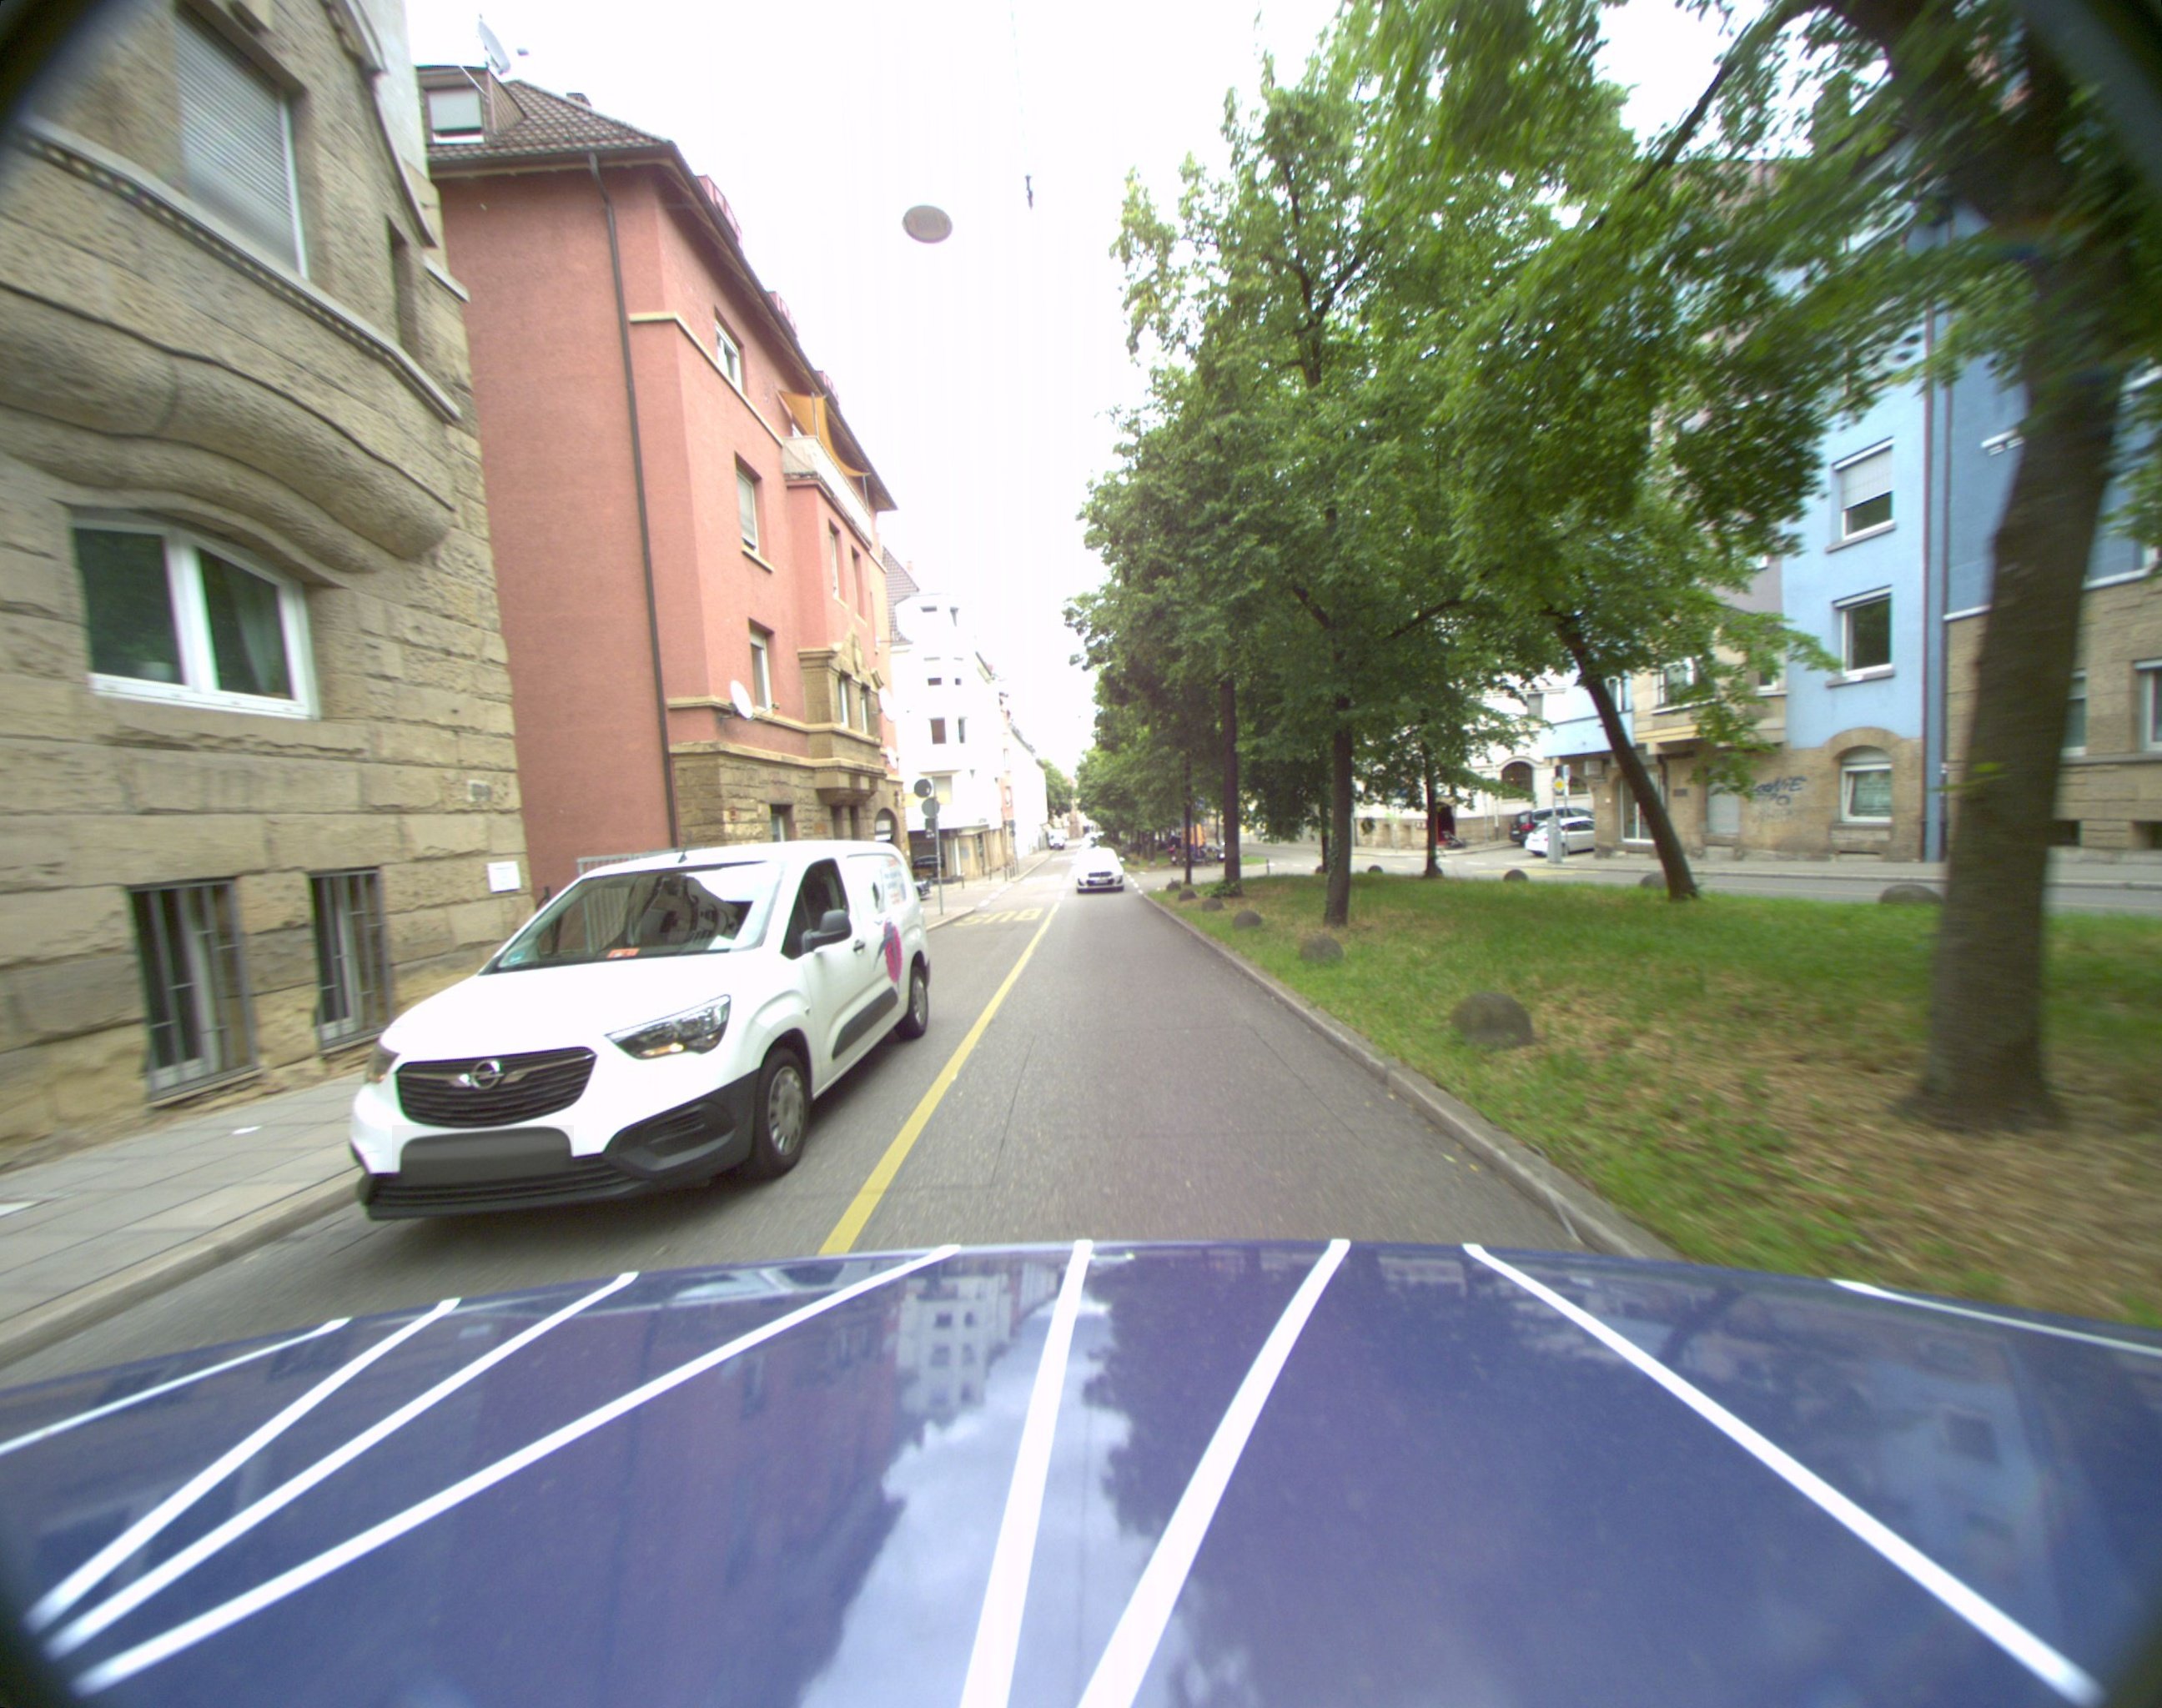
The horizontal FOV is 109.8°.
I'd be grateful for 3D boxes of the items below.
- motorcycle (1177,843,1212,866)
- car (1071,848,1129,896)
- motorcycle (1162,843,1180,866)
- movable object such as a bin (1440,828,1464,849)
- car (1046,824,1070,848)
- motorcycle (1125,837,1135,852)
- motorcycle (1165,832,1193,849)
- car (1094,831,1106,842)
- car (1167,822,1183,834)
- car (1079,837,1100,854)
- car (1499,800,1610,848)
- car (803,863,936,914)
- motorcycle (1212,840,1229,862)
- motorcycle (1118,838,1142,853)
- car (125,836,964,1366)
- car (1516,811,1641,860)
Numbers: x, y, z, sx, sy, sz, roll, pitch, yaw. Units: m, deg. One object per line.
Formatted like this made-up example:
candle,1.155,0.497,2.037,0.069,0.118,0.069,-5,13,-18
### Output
motorcycle,6.154,0.044,41.267,1.735,1.090,0.550,-4,4,4
car,0.667,0.629,30.096,1.854,1.595,4.561,-4,1,-3
motorcycle,5.113,0.016,42.915,0.888,1.090,2.481,-4,4,8
movable object such as a bin,19.373,-0.826,39.681,0.888,0.988,0.668,-6,2,-1
car,-3.189,-2.622,106.770,3.026,3.045,7.165,-3,3,0
motorcycle,4.525,-0.869,69.723,0.454,1.299,1.627,-5,4,-10
motorcycle,9.066,-1.273,70.441,2.424,1.475,0.963,-3,4,1
car,5.711,-5.313,229.386,3.026,3.045,7.165,-3,3,0
car,13.600,-3.735,109.831,1.818,1.554,4.253,-4,1,1
car,0.868,-0.845,76.497,1.854,1.361,4.279,-5,3,3
car,22.824,-1.448,36.741,4.007,1.690,1.871,-9,2,2
car,-9.160,1.470,33.338,5.141,1.541,2.237,-7,2,-4
motorcycle,7.878,-0.194,42.984,0.750,1.068,1.851,-4,4,8
motorcycle,4.350,-0.762,67.239,2.041,1.126,0.453,-4,4,1
car,-2.403,0.904,5.330,1.853,1.815,5.020,-5,2,5
car,20.956,-0.829,32.098,4.007,1.462,1.870,-8,4,-2
